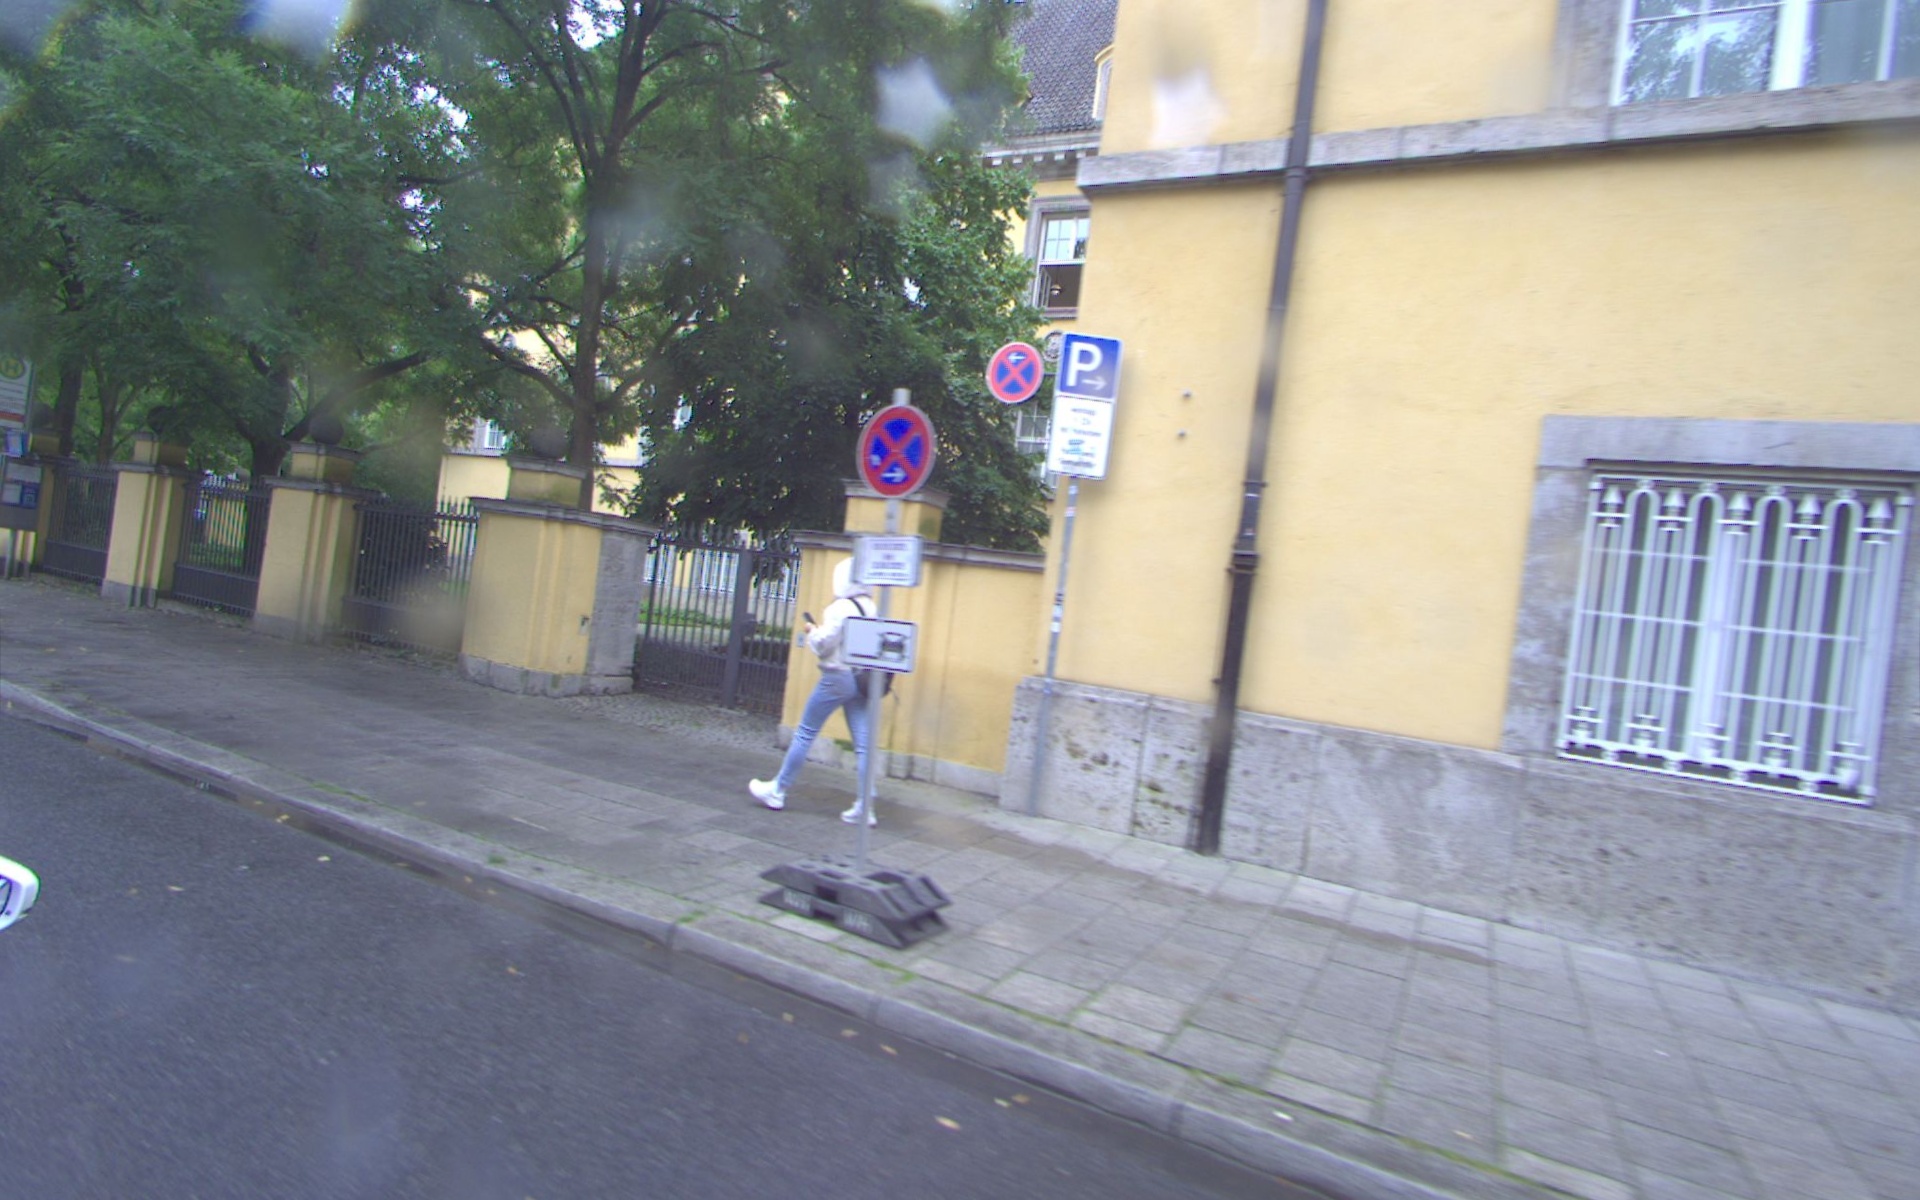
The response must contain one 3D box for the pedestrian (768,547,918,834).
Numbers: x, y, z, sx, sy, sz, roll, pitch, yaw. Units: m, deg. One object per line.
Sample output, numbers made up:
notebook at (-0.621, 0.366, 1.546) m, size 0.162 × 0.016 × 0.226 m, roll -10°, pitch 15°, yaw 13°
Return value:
pedestrian at (-0.725, 0.539, 6.287) m, size 0.561 × 1.659 × 0.561 m, roll 7°, pitch 3°, yaw 27°
